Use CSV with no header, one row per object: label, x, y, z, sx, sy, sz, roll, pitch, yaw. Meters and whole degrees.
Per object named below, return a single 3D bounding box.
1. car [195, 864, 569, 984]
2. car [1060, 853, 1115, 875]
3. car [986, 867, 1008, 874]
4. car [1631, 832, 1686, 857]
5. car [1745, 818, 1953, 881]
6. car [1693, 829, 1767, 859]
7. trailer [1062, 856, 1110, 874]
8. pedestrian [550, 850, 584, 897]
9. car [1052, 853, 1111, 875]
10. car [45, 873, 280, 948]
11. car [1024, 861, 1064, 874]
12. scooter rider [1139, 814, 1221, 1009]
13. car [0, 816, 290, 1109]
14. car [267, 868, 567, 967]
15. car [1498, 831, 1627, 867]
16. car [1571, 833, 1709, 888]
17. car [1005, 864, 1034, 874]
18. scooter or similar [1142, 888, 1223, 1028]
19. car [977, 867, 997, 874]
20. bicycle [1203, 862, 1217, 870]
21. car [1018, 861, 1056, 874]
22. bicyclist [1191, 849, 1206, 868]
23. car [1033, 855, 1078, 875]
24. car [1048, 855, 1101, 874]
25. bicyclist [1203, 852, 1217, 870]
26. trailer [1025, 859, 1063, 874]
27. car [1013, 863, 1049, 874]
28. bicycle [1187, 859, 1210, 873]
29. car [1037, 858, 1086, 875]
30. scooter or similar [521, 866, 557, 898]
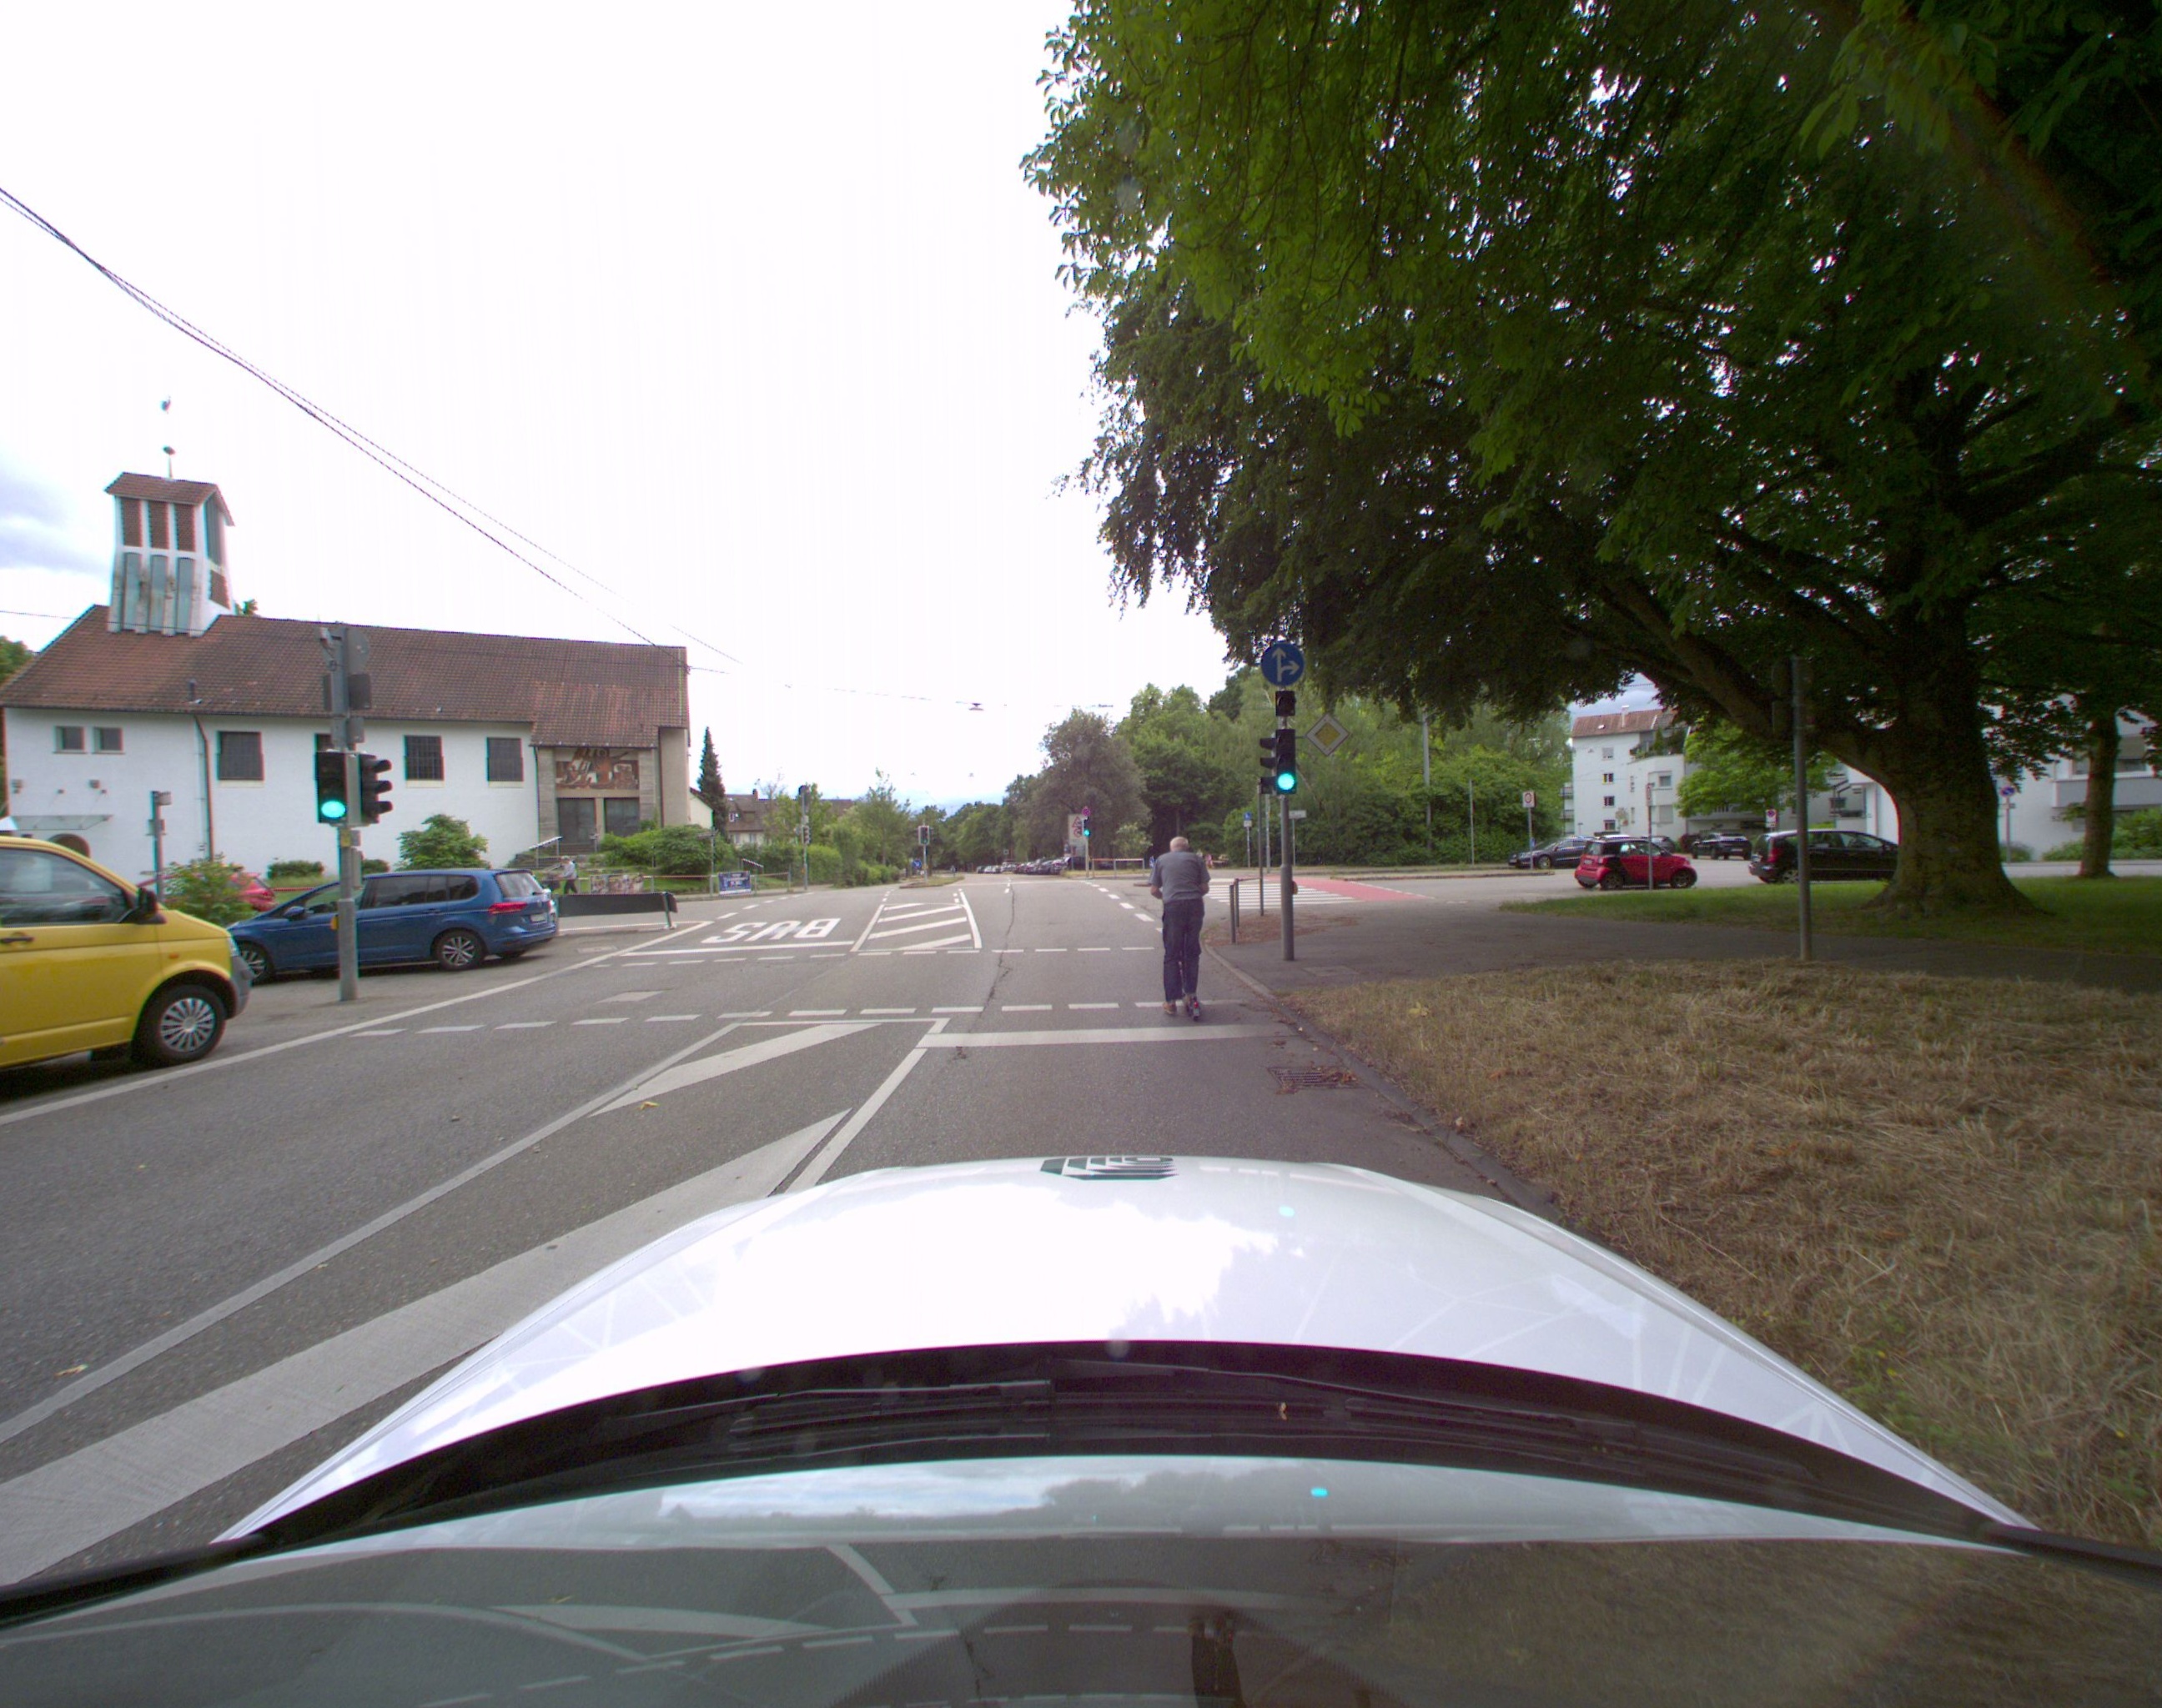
car,-11.069,1.035,13.263,4.168,1.547,1.838,-2,1,-12
car,0.470,0.724,58.899,3.718,1.476,1.570,-1,-1,-12
car,-16.431,3.198,158.512,3.912,1.309,1.725,-1,-2,-34
car,39.443,-0.632,55.737,1.913,1.545,4.083,-2,0,18
car,20.993,-0.094,22.485,3.778,1.591,1.829,-1,0,27
car,36.182,-0.542,45.523,1.913,1.545,4.083,-2,0,18
trailer,0.382,0.900,64.393,3.412,1.267,1.606,-2,-2,-19
pedestrian,-18.418,0.699,29.203,0.680,1.653,0.836,-1,-2,35
car,0.050,0.765,61.459,4.149,1.476,1.566,-1,-1,-20
car,-22.522,1.308,20.196,1.753,1.489,3.707,-1,1,44
car,-4.063,1.473,88.225,4.048,1.327,1.549,-1,-2,-18
scooter rider,0.941,0.506,7.869,0.678,1.730,1.198,-1,1,5
car,-8.289,0.770,5.237,1.913,1.989,4.792,-2,0,-5
car,-12.236,1.103,15.341,3.902,1.472,1.835,-2,1,-18
car,22.072,-0.234,37.438,4.776,1.439,2.036,-2,0,-5
car,16.425,0.164,24.041,2.896,1.506,1.699,-1,1,6
car,-9.172,2.190,121.521,3.983,1.405,1.742,-1,-1,-24
scooter or similar,0.963,0.949,7.898,0.678,1.139,1.462,-1,1,5
car,-20.361,3.593,176.400,3.908,1.429,1.727,-1,-1,-29
bicycle,8.645,0.805,54.458,0.513,0.497,0.995,-4,-2,36
car,-5.293,1.650,98.418,4.363,1.445,1.621,-1,-1,-24
bicyclist,7.655,0.293,53.137,0.633,1.161,0.809,0,3,41
car,-2.471,1.048,78.514,3.997,1.725,1.670,-1,-2,-19
car,-0.541,0.922,69.186,4.231,1.464,1.625,-1,-1,-18
bicyclist,8.625,0.460,54.485,0.513,1.187,0.974,-4,-3,36
trailer,-3.885,1.333,85.947,3.701,1.535,1.634,-1,-1,-21
car,-6.387,1.834,103.749,4.331,1.341,1.720,-1,-1,-23
bicycle,7.661,0.769,53.148,0.633,0.758,1.692,0,3,41
car,-1.808,1.149,75.747,4.174,1.407,1.686,-1,-2,-20
scooter or similar,-18.935,0.966,28.451,0.604,1.095,0.895,-1,-1,35
